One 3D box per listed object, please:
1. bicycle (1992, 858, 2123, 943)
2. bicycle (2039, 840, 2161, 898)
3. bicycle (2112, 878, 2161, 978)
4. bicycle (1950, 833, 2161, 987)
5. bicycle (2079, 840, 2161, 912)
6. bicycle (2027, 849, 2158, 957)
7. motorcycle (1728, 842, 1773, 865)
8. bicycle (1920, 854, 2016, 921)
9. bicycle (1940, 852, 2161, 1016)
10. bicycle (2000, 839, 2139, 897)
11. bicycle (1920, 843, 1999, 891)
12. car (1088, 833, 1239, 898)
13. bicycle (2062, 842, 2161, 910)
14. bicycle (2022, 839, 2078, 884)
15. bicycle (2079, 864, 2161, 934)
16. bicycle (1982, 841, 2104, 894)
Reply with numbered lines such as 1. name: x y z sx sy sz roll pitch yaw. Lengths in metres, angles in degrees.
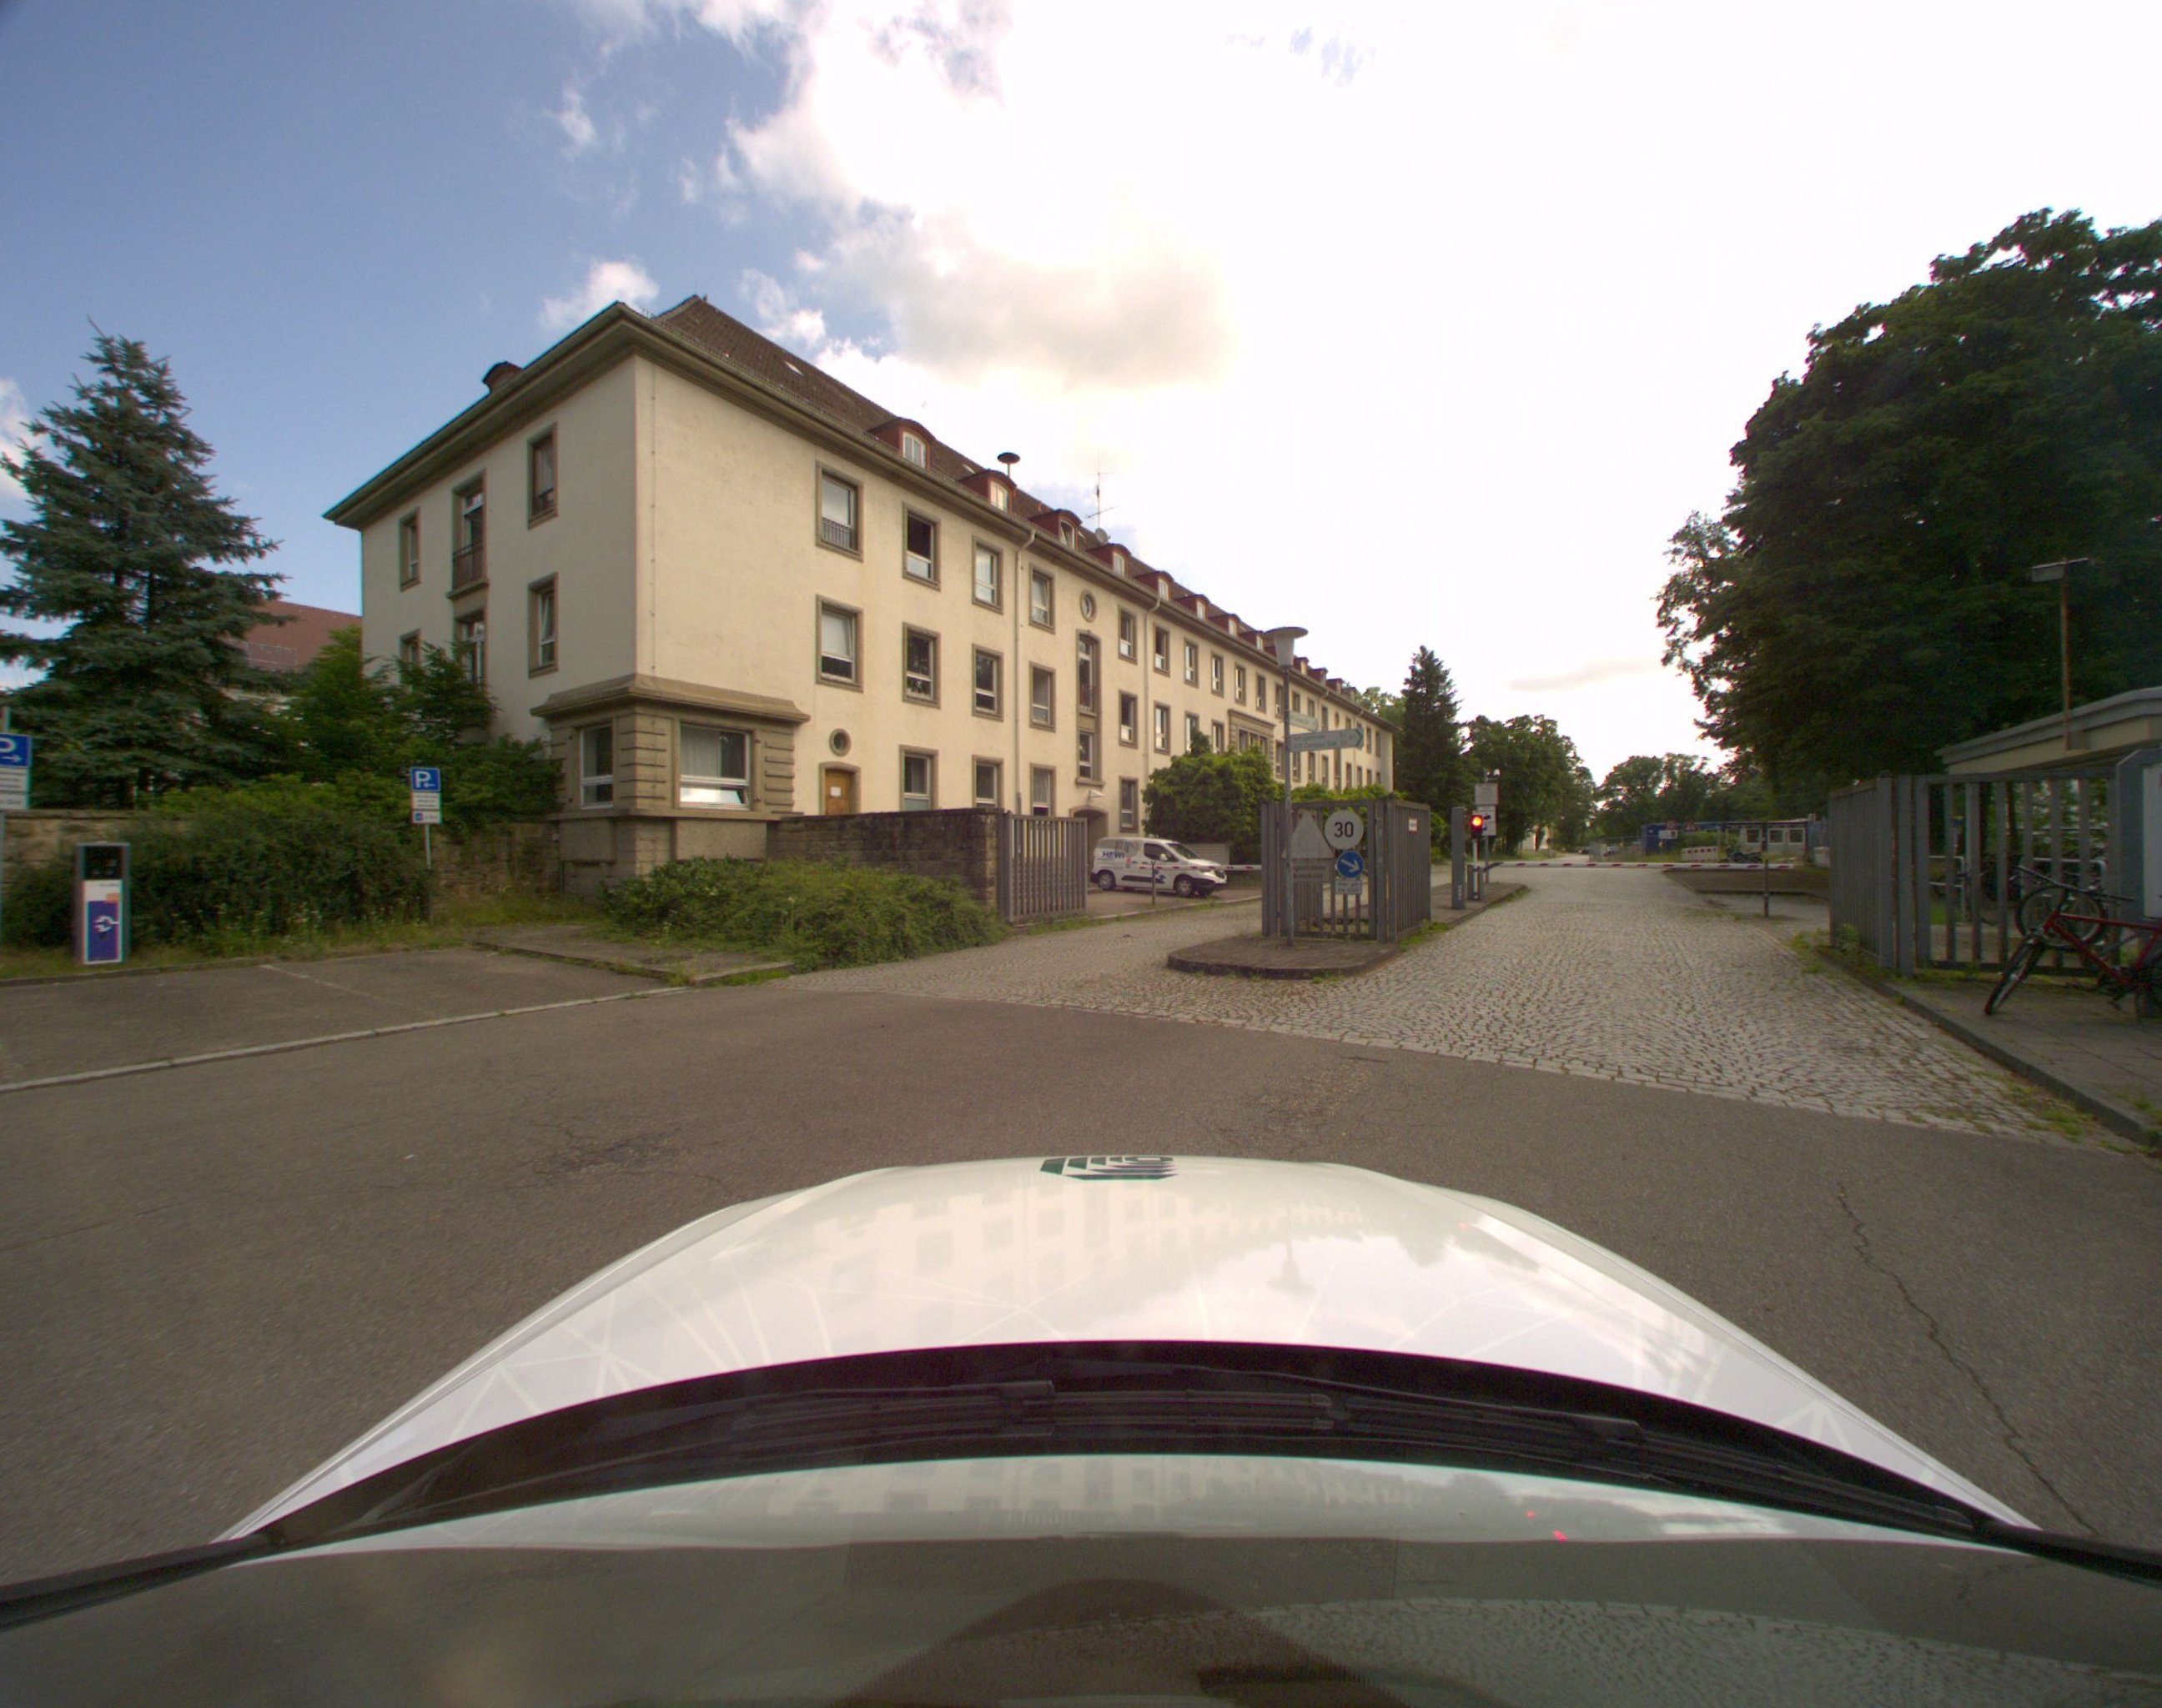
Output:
1. bicycle: 13.475 0.604 11.296 0.723 1.057 1.604 -1 0 33
2. bicycle: 20.802 0.307 16.610 1.688 1.160 0.403 -1 -2 14
3. bicycle: 11.465 0.729 7.792 1.926 0.968 0.460 -1 0 35
4. bicycle: 9.894 0.525 7.922 1.882 1.417 0.519 -1 -2 39
5. bicycle: 17.640 0.370 13.443 1.377 1.171 0.439 -1 -2 34
6. bicycle: 12.387 0.553 10.029 0.496 1.170 1.727 -1 1 33
7. motorcycle: 38.361 -0.022 46.699 1.937 1.195 0.464 -3 4 32
8. bicycle: 15.483 0.562 14.261 0.723 1.072 1.725 -1 0 33
9. bicycle: 8.577 0.644 6.837 1.718 1.277 0.677 -2 -1 30
10. bicycle: 20.868 0.307 17.242 1.785 1.171 0.586 -1 -2 21
11. bicycle: 22.438 0.337 20.818 1.371 1.171 0.434 -2 -2 6
12. car: 2.627 0.303 26.287 4.395 1.750 1.870 4 3 30
13. bicycle: 18.777 0.386 14.290 1.930 1.171 0.488 -1 -2 28
14. bicycle: 26.092 0.211 21.958 0.499 1.171 1.564 -1 -2 33
15. bicycle: 18.421 0.756 13.652 2.050 1.171 0.489 -1 -2 32
16. bicycle: 22.132 0.321 18.769 1.783 1.171 0.361 -1 -2 28
